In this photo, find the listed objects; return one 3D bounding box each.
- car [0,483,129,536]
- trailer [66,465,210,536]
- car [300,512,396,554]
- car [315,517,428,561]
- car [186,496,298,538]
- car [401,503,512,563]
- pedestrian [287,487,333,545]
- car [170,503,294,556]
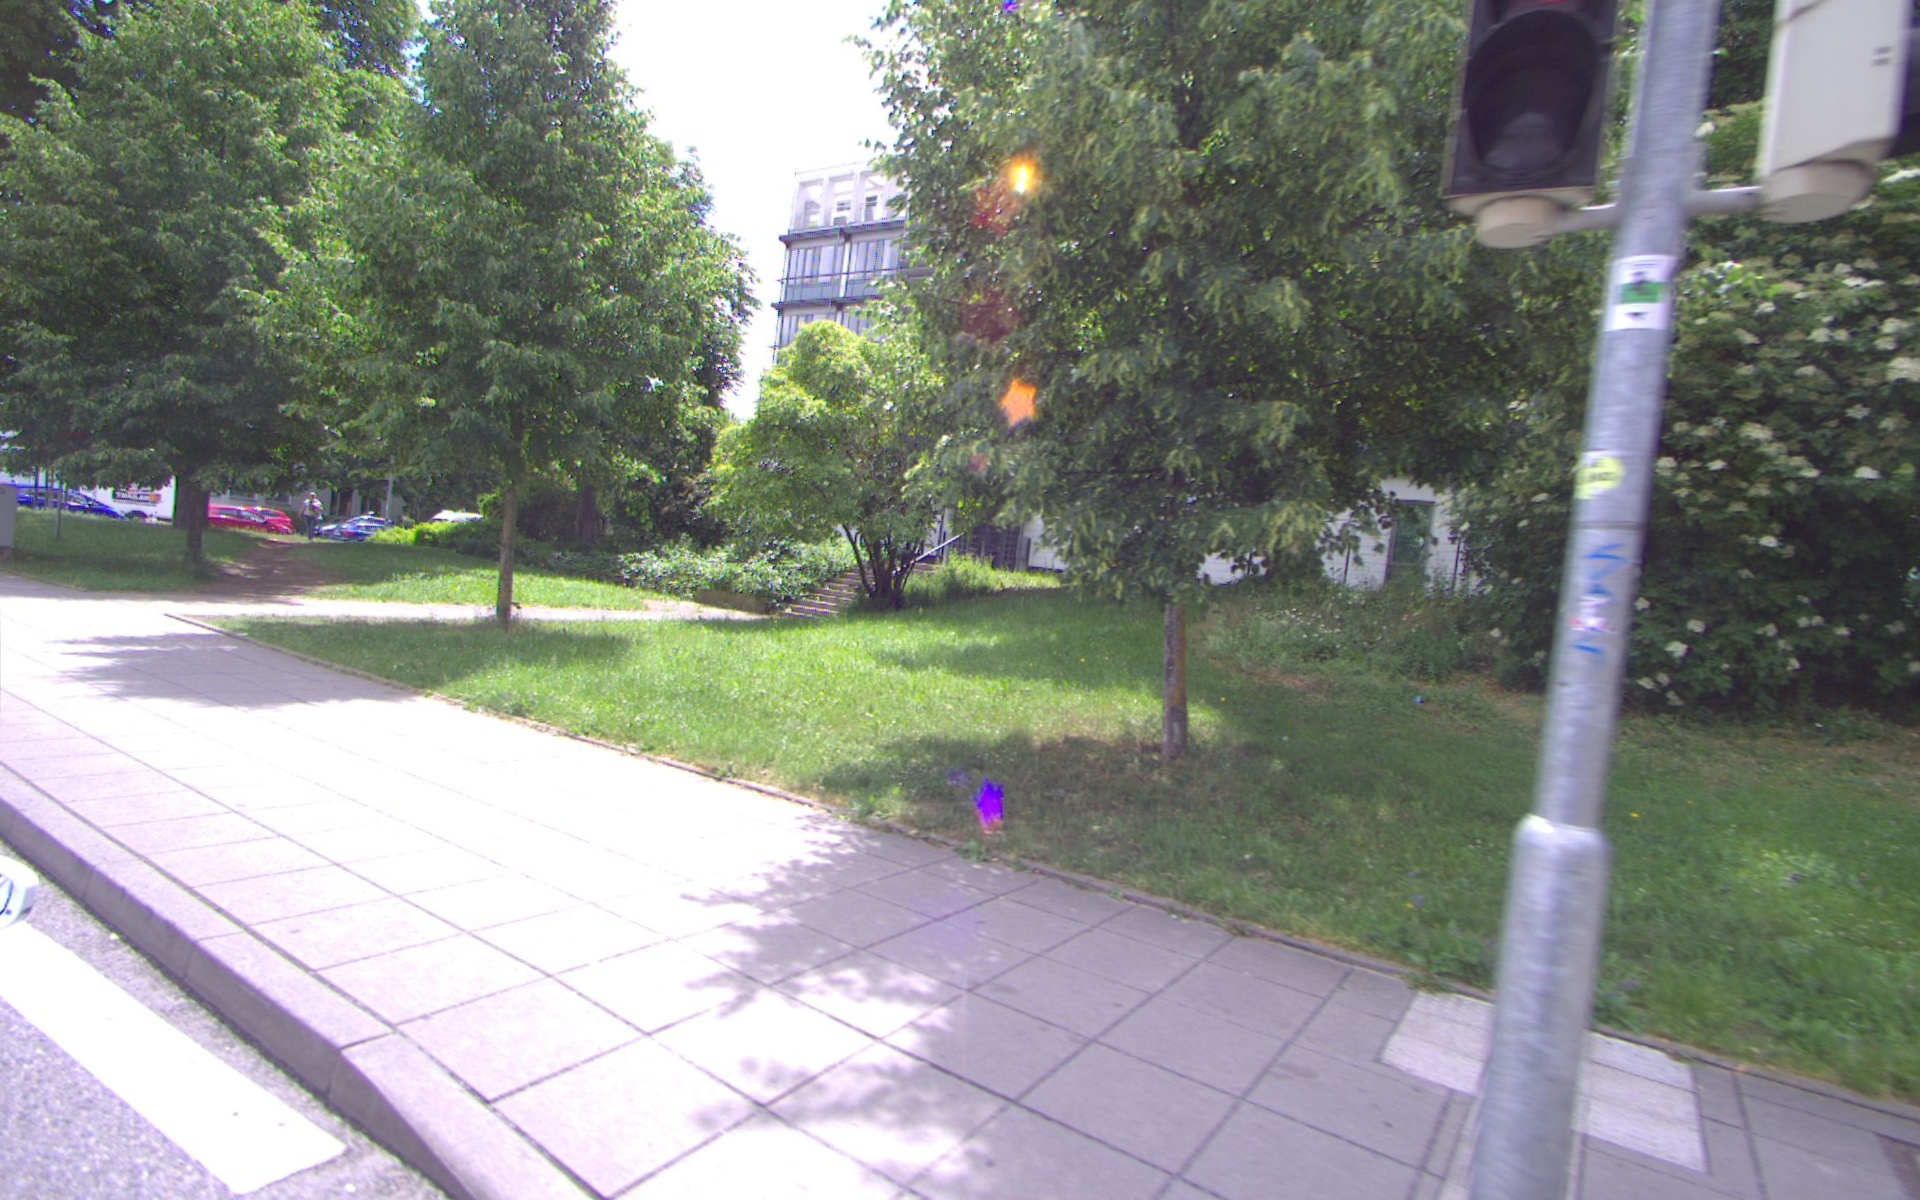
[{"bbox_3d":[-33.288,-3.319,36.948,1.863,1.476,3.797,8,3,28],"label":"car"},{"bbox_3d":[-38.190,-4.587,46.849,2.183,2.518,4.544,8,1,29],"label":"trailer"},{"bbox_3d":[-33.501,-3.662,55.149,1.877,1.745,3.989,7,1,32],"label":"car"},{"bbox_3d":[-27.735,-2.851,47.541,1.965,1.579,4.084,7,1,27],"label":"car"},{"bbox_3d":[-36.080,-4.160,50.670,1.966,1.522,4.084,8,2,29],"label":"car"},{"bbox_3d":[-30.315,-4.008,60.756,2.167,2.903,5.582,7,1,30],"label":"car"},{"bbox_3d":[-21.384,-2.760,33.086,0.846,1.783,0.984,7,2,41],"label":"pedestrian"},{"bbox_3d":[-30.589,-2.937,42.363,1.798,1.664,3.693,8,1,29],"label":"car"}]
